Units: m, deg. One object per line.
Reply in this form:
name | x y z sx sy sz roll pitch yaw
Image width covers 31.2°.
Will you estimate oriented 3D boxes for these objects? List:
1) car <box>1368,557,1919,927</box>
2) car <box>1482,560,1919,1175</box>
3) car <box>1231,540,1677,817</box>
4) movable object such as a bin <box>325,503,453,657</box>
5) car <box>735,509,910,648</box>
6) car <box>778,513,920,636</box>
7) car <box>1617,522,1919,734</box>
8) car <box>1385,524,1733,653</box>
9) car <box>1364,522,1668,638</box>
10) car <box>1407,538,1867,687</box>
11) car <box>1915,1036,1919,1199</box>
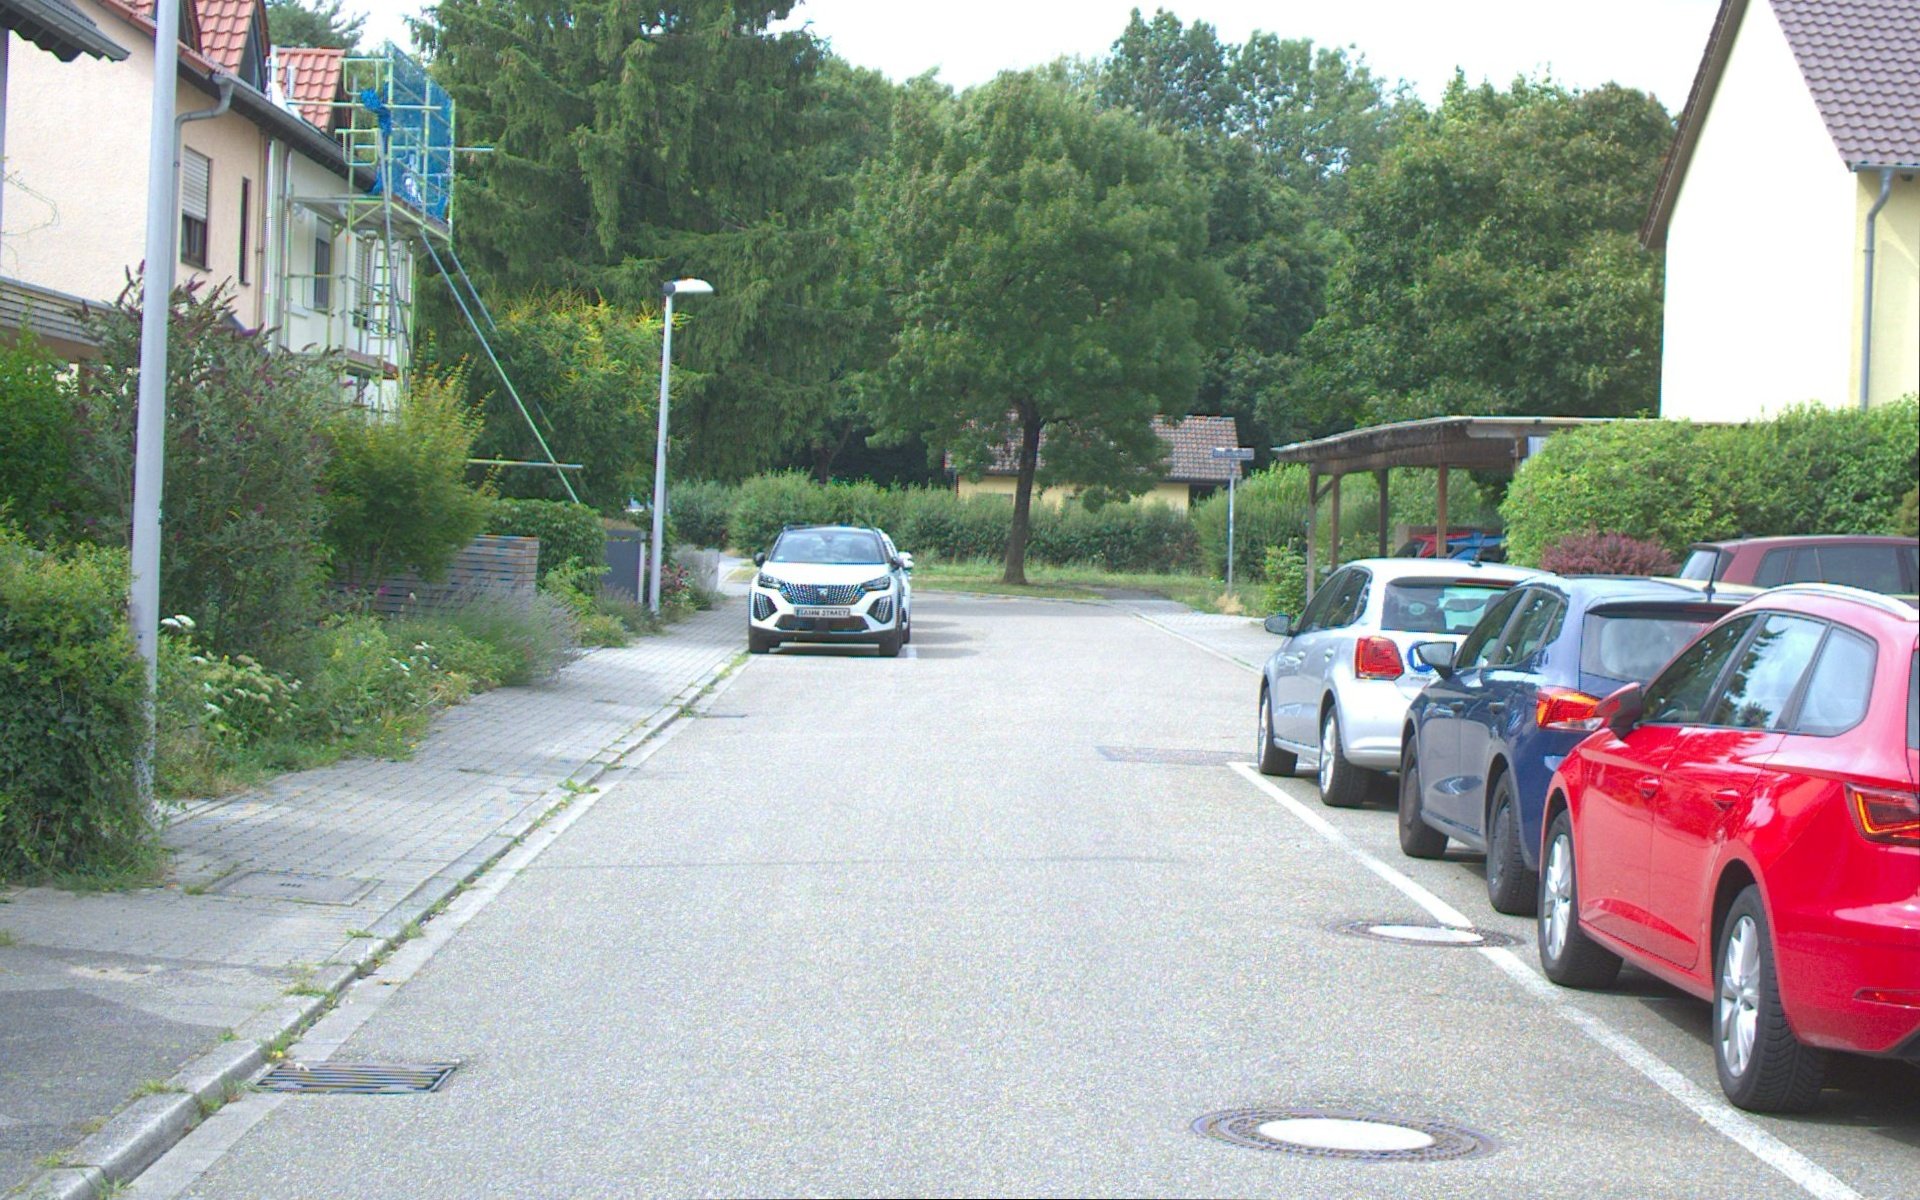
car | 3.014 0.532 15.601 1.773 1.351 4.266 1 2 0
car | 2.957 0.673 10.768 1.773 1.431 4.826 4 1 -1
car | 2.895 0.397 21.098 1.864 1.412 4.254 2 2 -3
movable object such as a bin | -5.008 -0.185 30.205 0.949 1.307 1.001 1 1 -1
car | -1.618 -0.305 41.973 1.934 1.551 4.635 1 2 0
car | -1.491 -0.397 47.372 1.810 1.556 4.848 1 2 -1
car | 7.484 0.215 26.930 4.270 1.554 1.935 1 1 0
car | 7.692 -0.166 44.375 4.045 1.517 1.951 1 1 -3
car | 7.932 -0.299 49.297 3.956 1.535 1.839 1 1 -3
car | 7.190 0.115 36.835 4.449 1.428 2.027 1 1 -2
car | 3.020 0.771 4.752 1.837 1.408 4.638 1 2 -3
